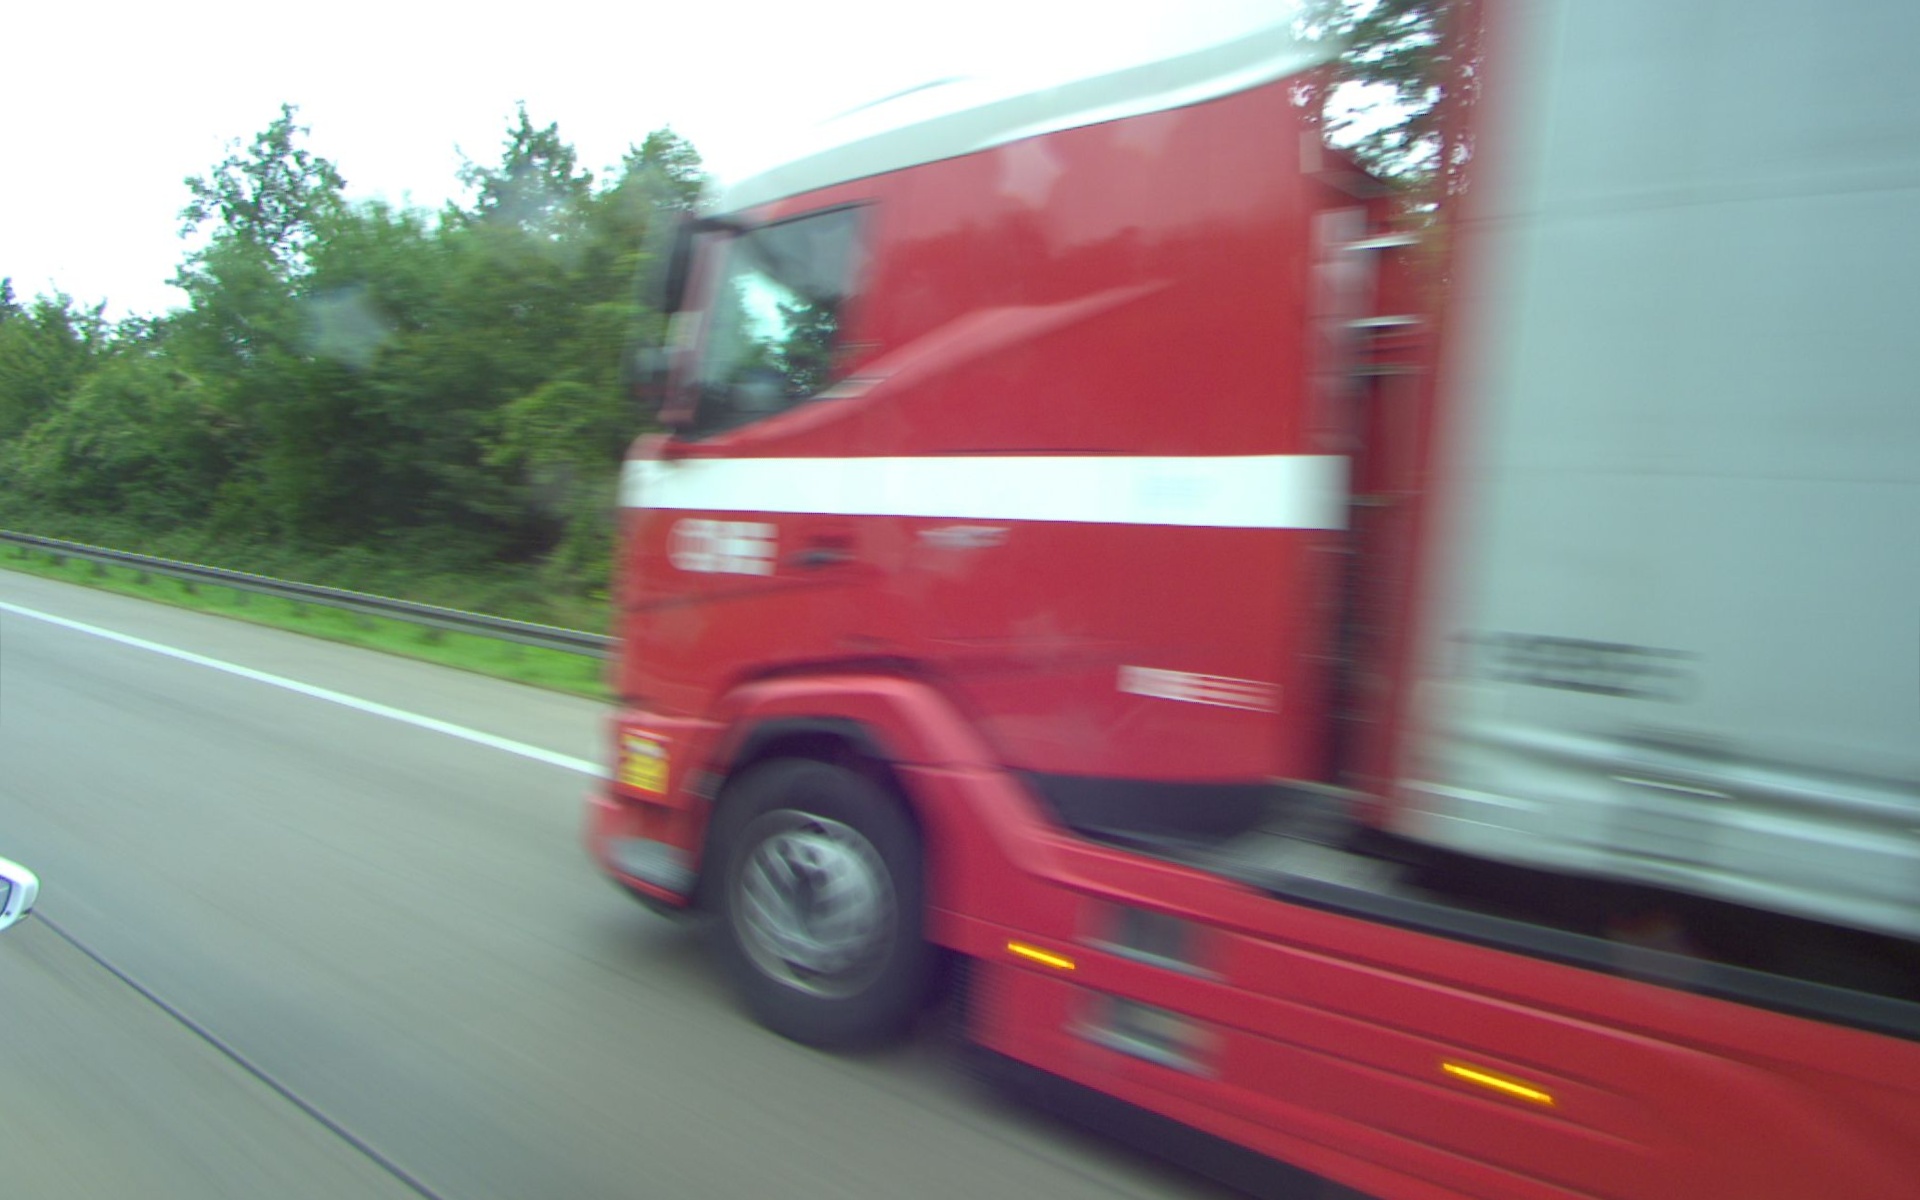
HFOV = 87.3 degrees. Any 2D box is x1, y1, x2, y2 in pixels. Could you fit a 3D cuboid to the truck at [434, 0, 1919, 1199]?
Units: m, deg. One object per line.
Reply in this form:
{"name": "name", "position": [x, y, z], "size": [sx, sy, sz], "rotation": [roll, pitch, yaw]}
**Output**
{"name": "truck", "position": [1.178, -0.330, 3.708], "size": [6.058, 4.000, 2.379], "rotation": [7, -1, 32]}
